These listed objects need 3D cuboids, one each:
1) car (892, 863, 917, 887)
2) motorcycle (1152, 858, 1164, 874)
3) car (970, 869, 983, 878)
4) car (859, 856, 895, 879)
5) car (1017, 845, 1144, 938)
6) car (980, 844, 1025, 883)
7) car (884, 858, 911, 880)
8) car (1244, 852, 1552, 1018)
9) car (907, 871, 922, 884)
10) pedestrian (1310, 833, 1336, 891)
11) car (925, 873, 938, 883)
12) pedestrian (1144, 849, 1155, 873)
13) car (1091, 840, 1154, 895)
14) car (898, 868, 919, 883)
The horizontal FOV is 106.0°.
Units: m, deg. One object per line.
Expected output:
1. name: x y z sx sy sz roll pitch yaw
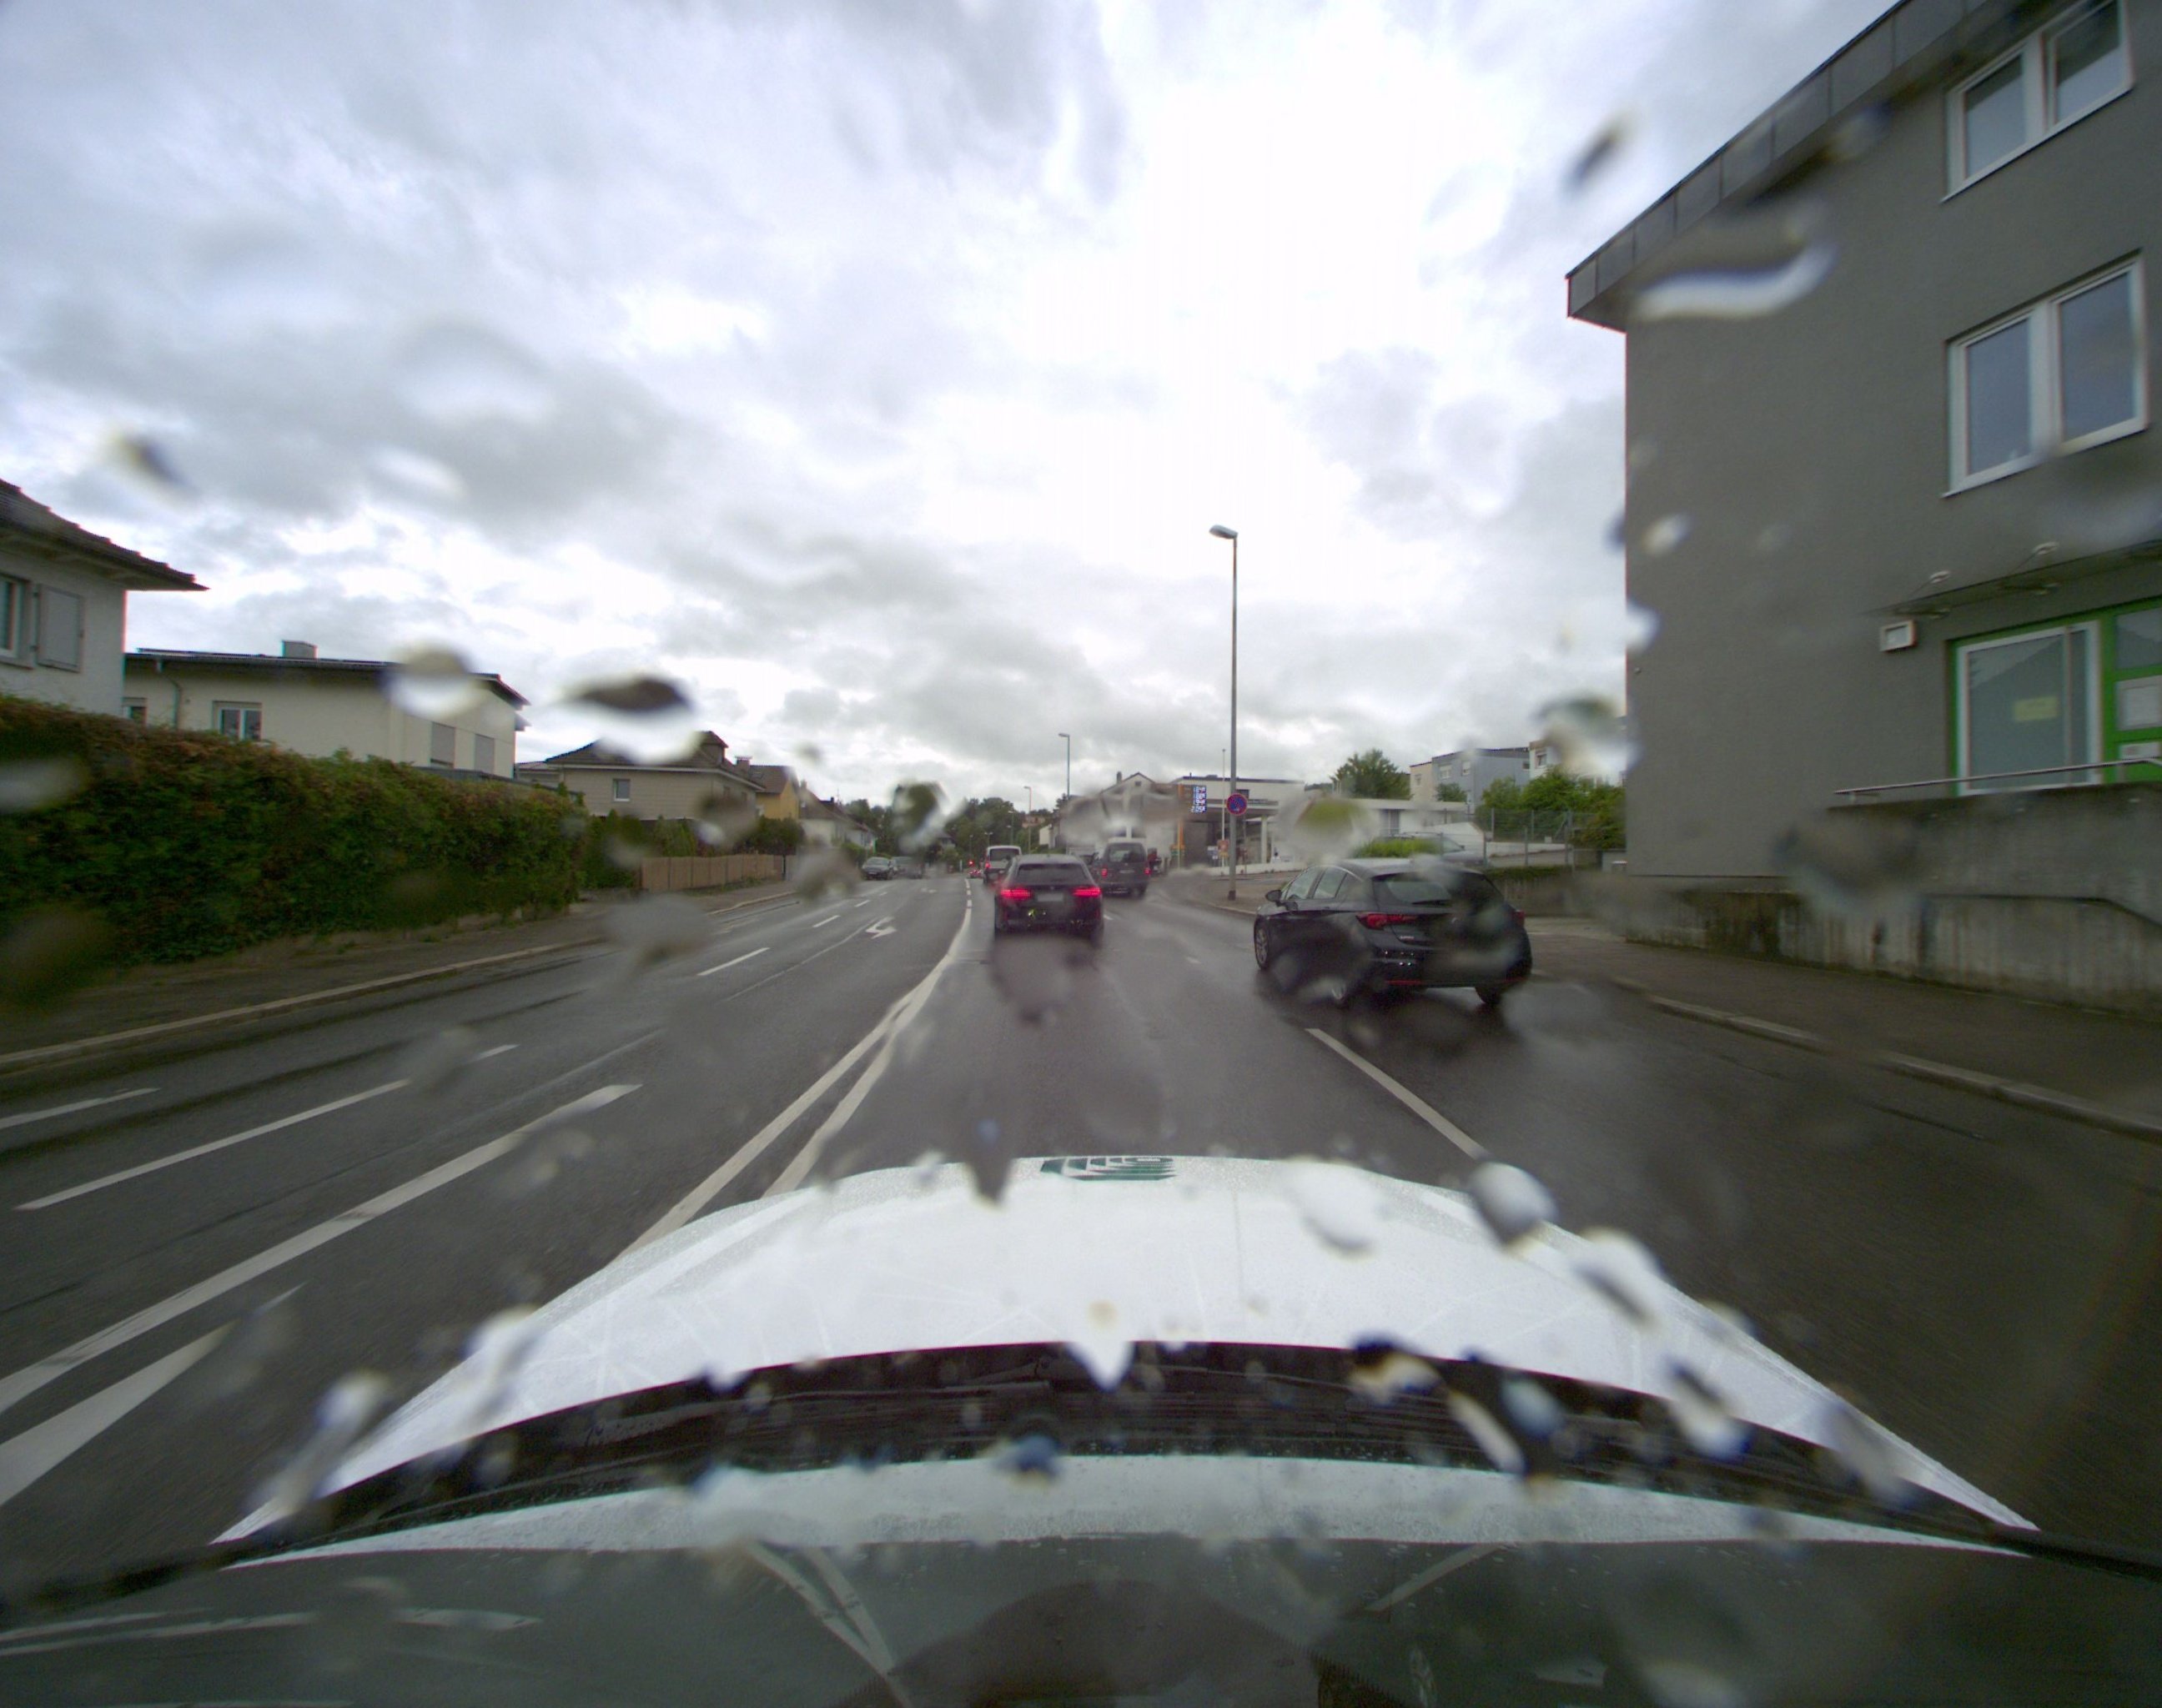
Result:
1. car: -15.290 1.827 70.759 1.913 2.003 5.069 1 -2 -10
2. motorcycle: 5.237 0.802 55.355 0.462 1.055 1.386 1 -2 -8
3. car: -19.008 3.576 148.520 1.990 1.741 3.993 1 -2 -4
4. car: -13.493 0.947 54.012 1.748 1.440 4.118 1 -2 -7
5. car: -0.161 0.679 15.137 1.991 1.484 3.991 1 -2 -6
6. car: -3.749 0.513 39.067 1.991 1.738 3.991 1 -2 -6
7. car: -13.645 1.145 60.776 1.750 1.517 4.511 1 -2 -10
8. car: 3.222 0.727 9.202 1.752 1.449 3.995 1 0 -3
9. car: -18.799 2.692 91.912 1.551 1.431 4.000 1 -2 -10
10. pedestrian: 8.492 0.302 28.590 0.713 2.014 0.614 1 -2 1
11. car: -25.232 4.106 137.801 1.883 1.585 3.989 1 -2 -8
12. pedestrian: 4.671 0.472 55.558 0.609 1.656 0.584 1 -2 -8
13. car: 1.378 0.516 28.398 1.834 1.767 3.995 1 -2 -3
14. car: -18.116 2.236 85.777 1.756 1.533 4.275 1 -2 -7
